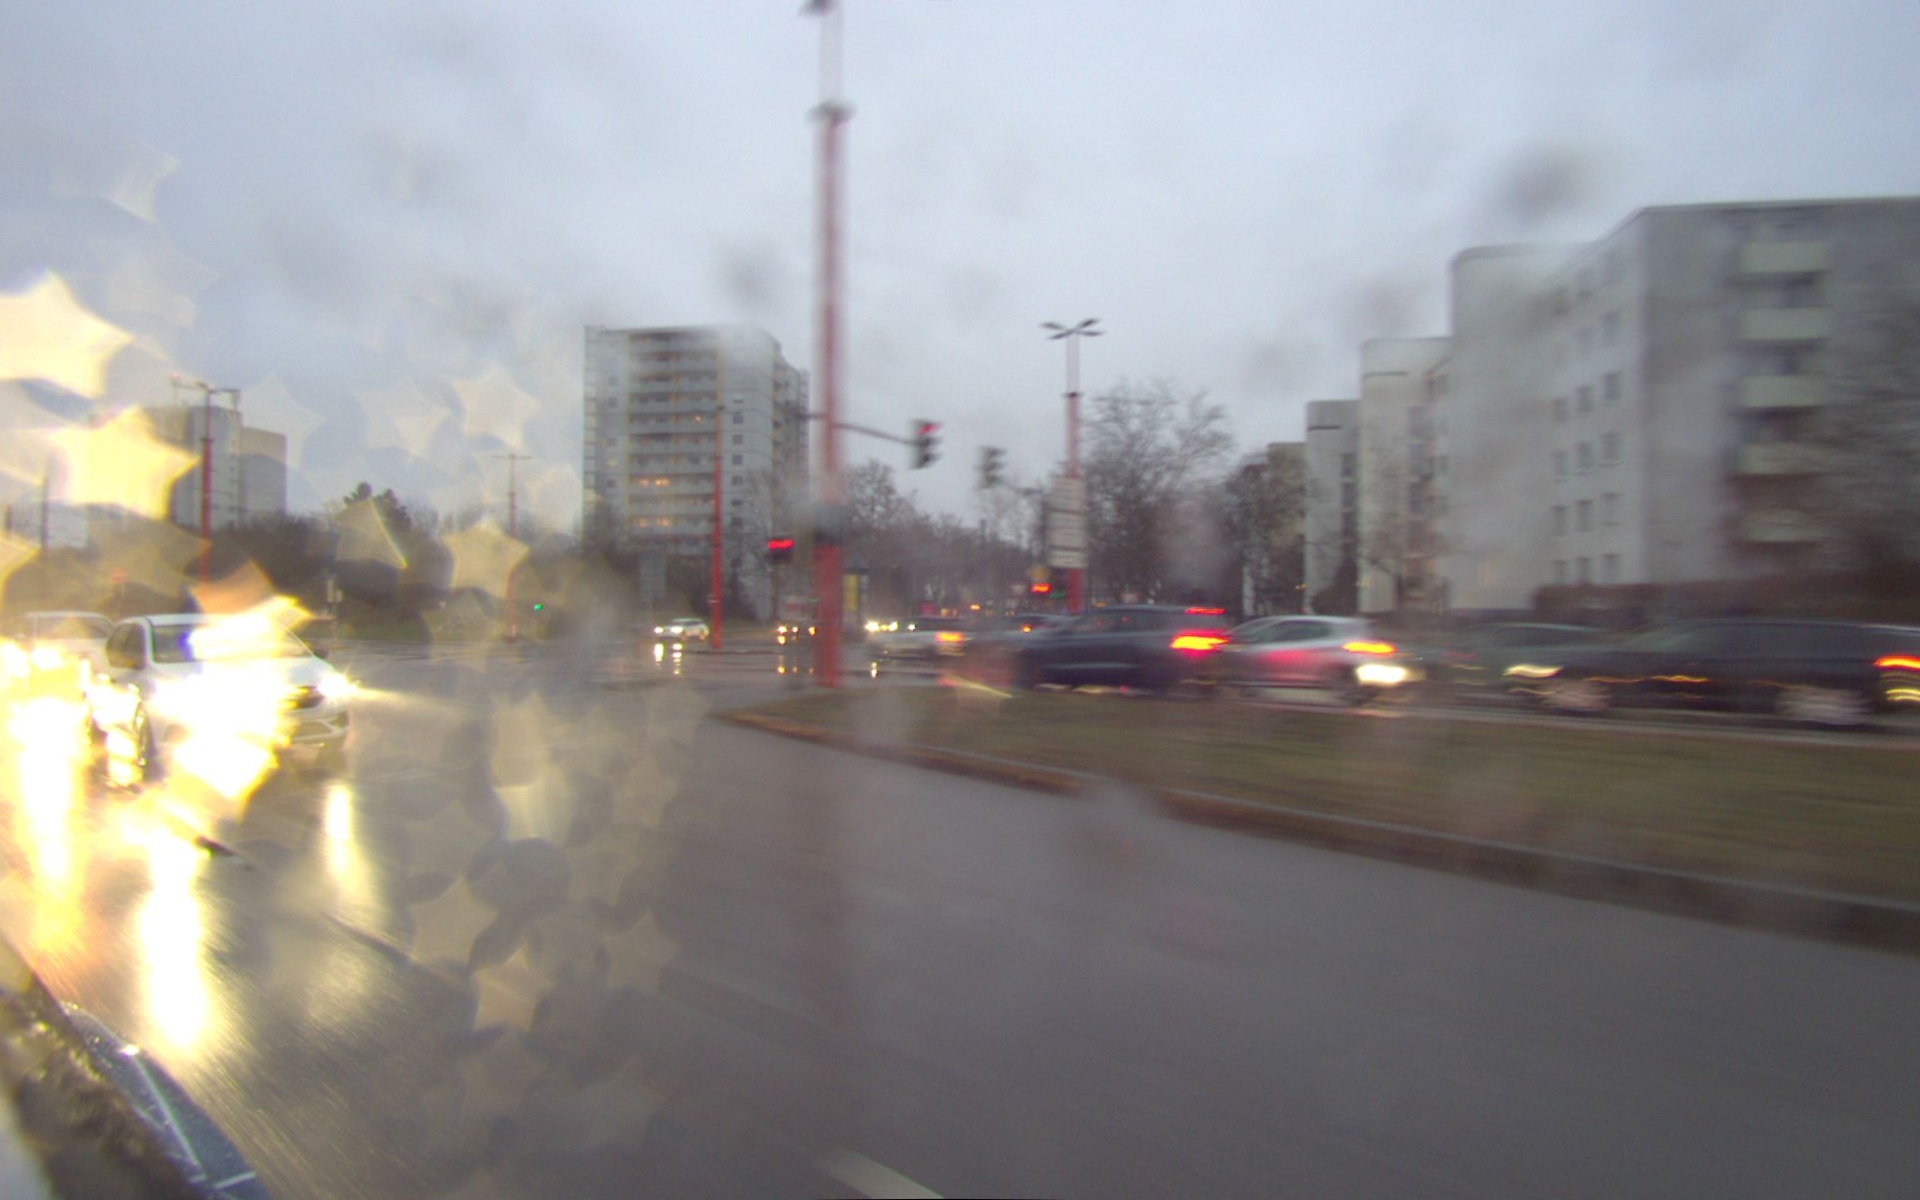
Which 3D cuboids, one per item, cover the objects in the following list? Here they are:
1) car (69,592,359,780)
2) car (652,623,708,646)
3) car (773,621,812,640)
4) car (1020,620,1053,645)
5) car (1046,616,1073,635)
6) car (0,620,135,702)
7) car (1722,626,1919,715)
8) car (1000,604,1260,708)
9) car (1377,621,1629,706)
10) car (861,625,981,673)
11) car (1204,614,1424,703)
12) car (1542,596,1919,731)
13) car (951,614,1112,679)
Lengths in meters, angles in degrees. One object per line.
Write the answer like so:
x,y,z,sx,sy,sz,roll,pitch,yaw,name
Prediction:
-8.197,0.795,10.976,4.145,1.660,1.696,-1,-1,42,car
-19.580,2.378,71.039,1.834,1.556,4.419,0,-1,14,car
-13.847,2.519,83.898,1.696,1.556,3.981,0,-1,14,car
4.849,2.081,64.735,1.974,1.541,4.593,0,-1,3,car
8.422,2.165,85.208,1.978,1.541,4.470,0,-1,10,car
-19.174,1.218,21.636,4.187,1.551,1.672,-1,0,41,car
16.418,1.212,18.029,4.437,1.506,1.751,-1,-2,41,car
2.871,0.906,17.535,4.074,1.594,1.839,-1,-2,38,car
10.065,1.113,18.926,3.907,1.438,1.604,-1,-2,41,car
-1.342,1.599,33.819,4.014,1.506,1.602,-1,-2,40,car
6.242,0.982,17.995,3.324,1.431,1.635,-1,-2,41,car
10.655,0.805,13.959,4.285,1.611,1.837,-1,-2,41,car
1.813,1.169,26.431,3.944,1.565,1.752,-1,-2,40,car
